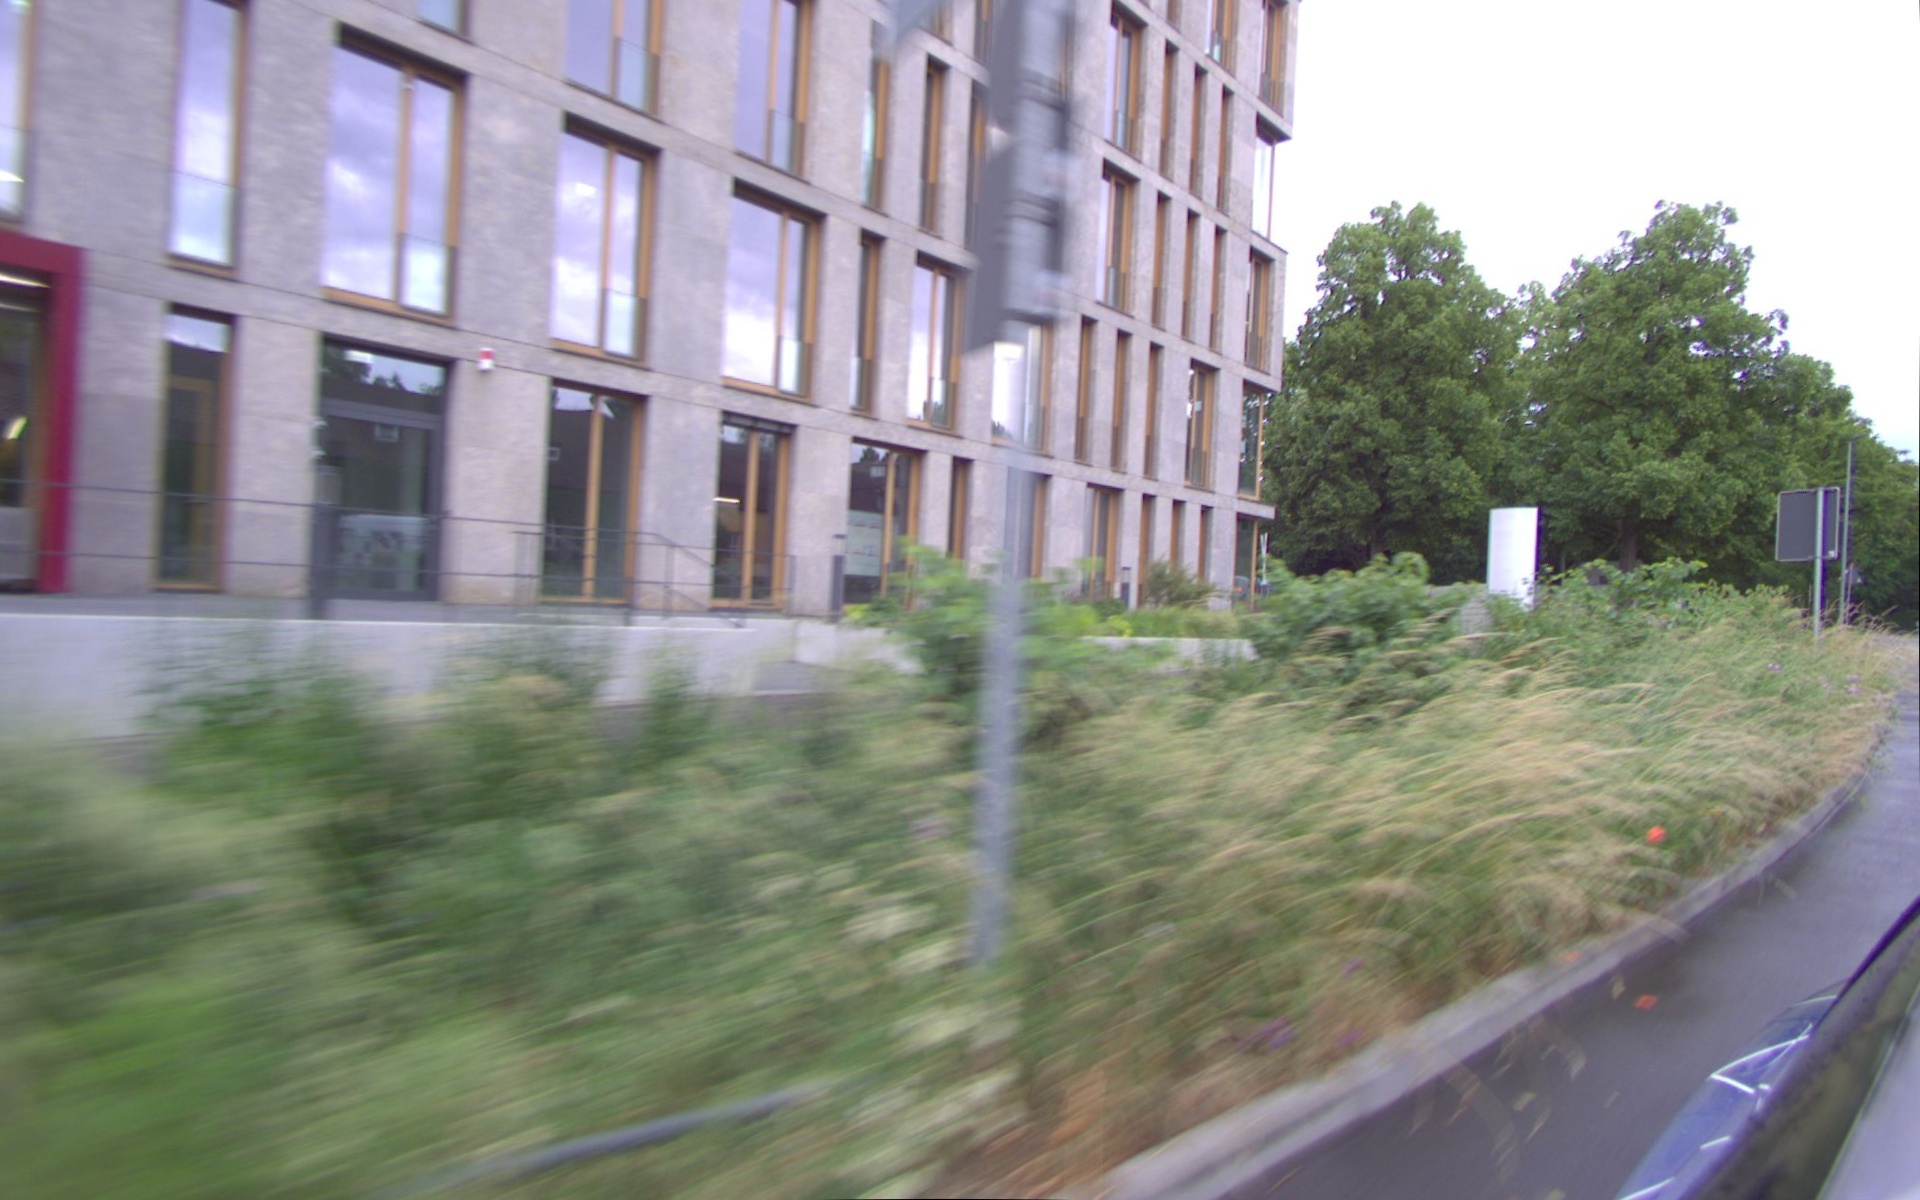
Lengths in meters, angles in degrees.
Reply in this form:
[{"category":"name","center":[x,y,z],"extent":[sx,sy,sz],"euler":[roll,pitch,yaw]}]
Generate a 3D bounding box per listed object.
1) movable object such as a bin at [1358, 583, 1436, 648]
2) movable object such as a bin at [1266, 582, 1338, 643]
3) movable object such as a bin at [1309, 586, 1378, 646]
[{"category":"movable object such as a bin","center":[10.282,0.375,23.806],"extent":[1.090,1.477,1.250],"euler":[0,-2,-35]},{"category":"movable object such as a bin","center":[8.754,0.304,25.899],"extent":[1.362,1.523,1.199],"euler":[0,0,-38]},{"category":"movable object such as a bin","center":[9.383,0.391,24.765],"extent":[1.128,1.418,1.100],"euler":[0,-2,-36]}]
